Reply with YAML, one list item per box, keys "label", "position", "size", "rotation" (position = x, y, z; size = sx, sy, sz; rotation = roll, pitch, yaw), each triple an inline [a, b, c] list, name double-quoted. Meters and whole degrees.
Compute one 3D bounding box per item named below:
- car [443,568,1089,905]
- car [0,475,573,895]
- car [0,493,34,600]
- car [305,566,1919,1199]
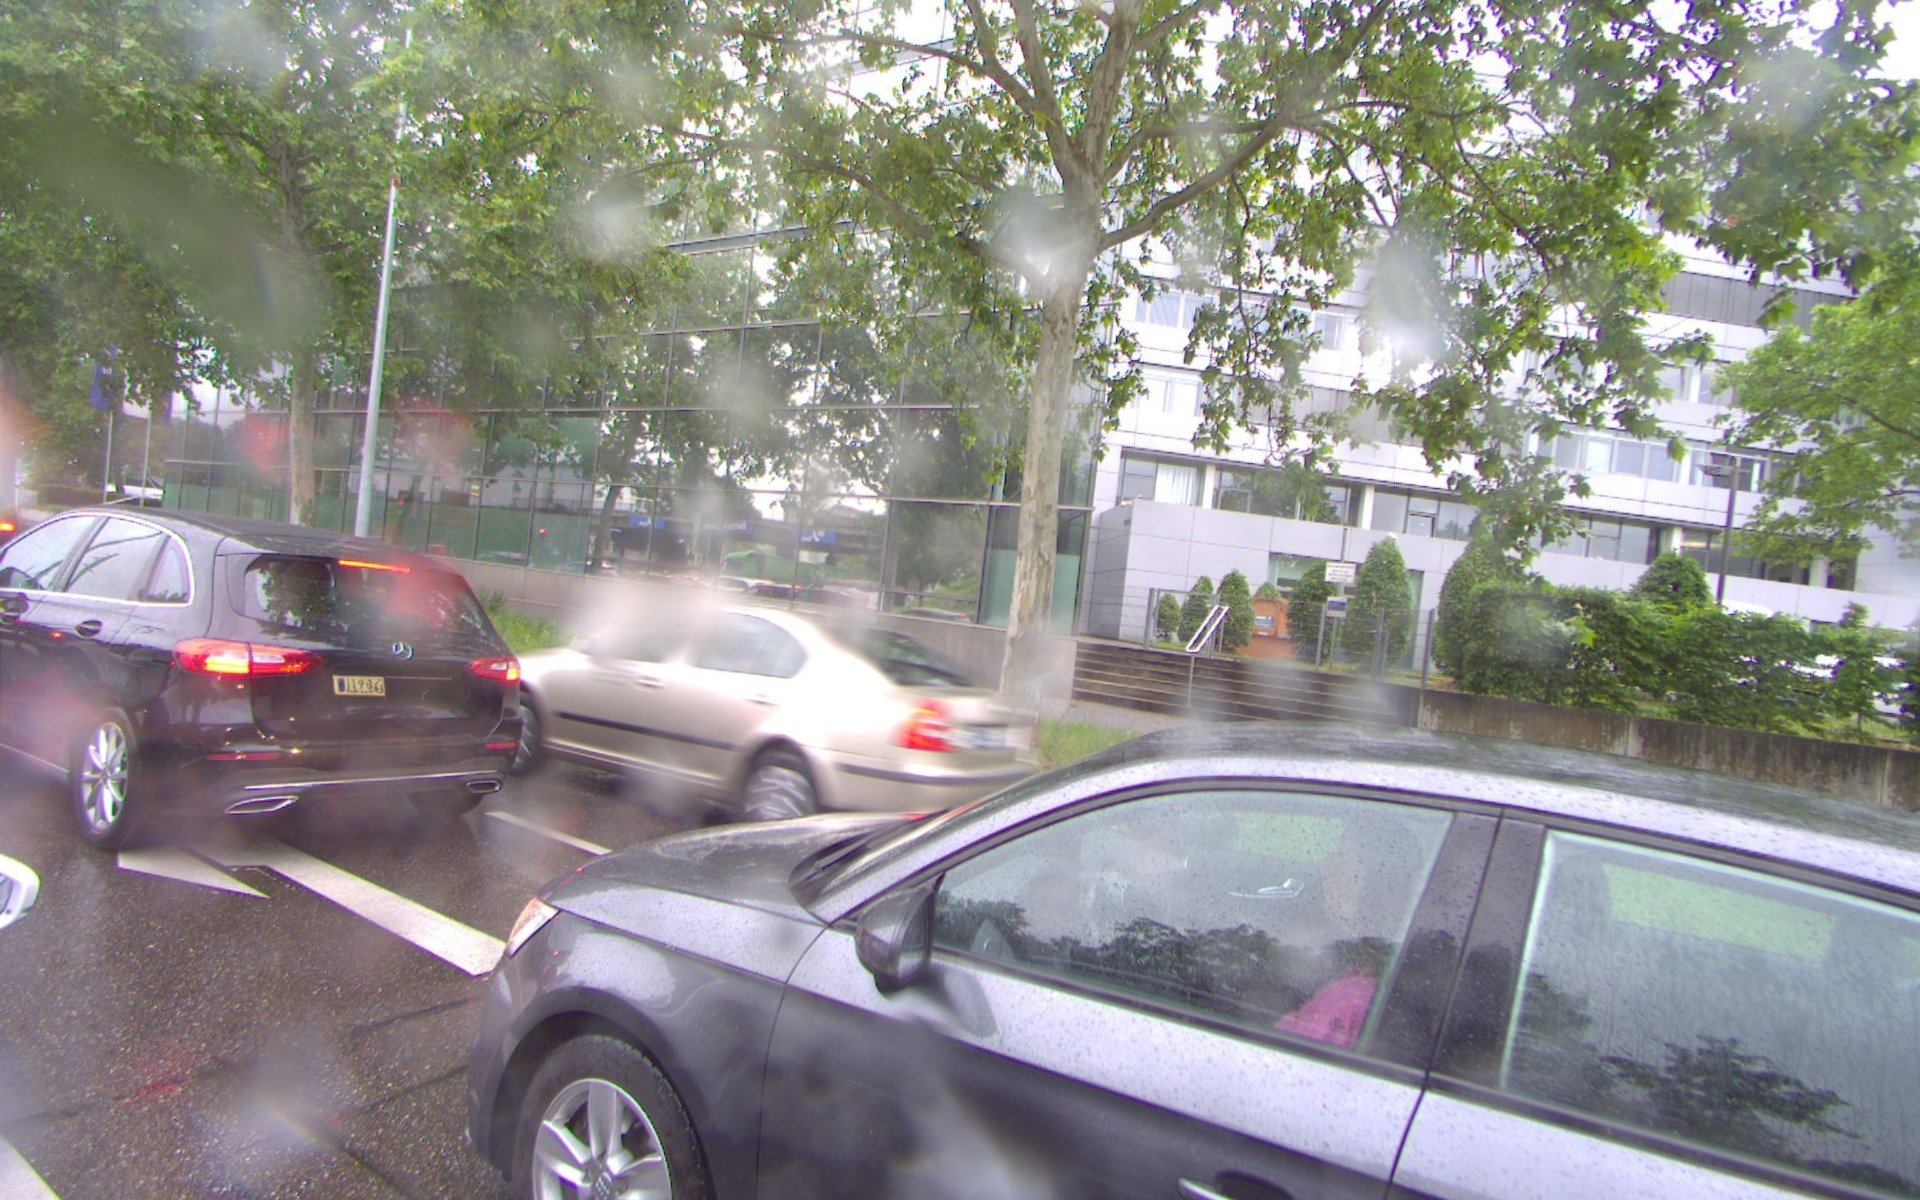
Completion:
- label: "car"
  position: [-1.495, 0.745, 7.145]
  size: [4.314, 1.447, 1.805]
  rotation: [6, -1, 32]
- label: "car"
  position: [-4.312, 0.247, 5.724]
  size: [3.932, 1.568, 1.712]
  rotation: [8, 0, 30]
- label: "car"
  position: [-18.116, -1.143, 17.392]
  size: [4.120, 1.746, 1.860]
  rotation: [6, -1, 30]
- label: "car"
  position: [0.757, 0.925, 2.203]
  size: [3.932, 1.469, 1.998]
  rotation: [6, -2, 30]
